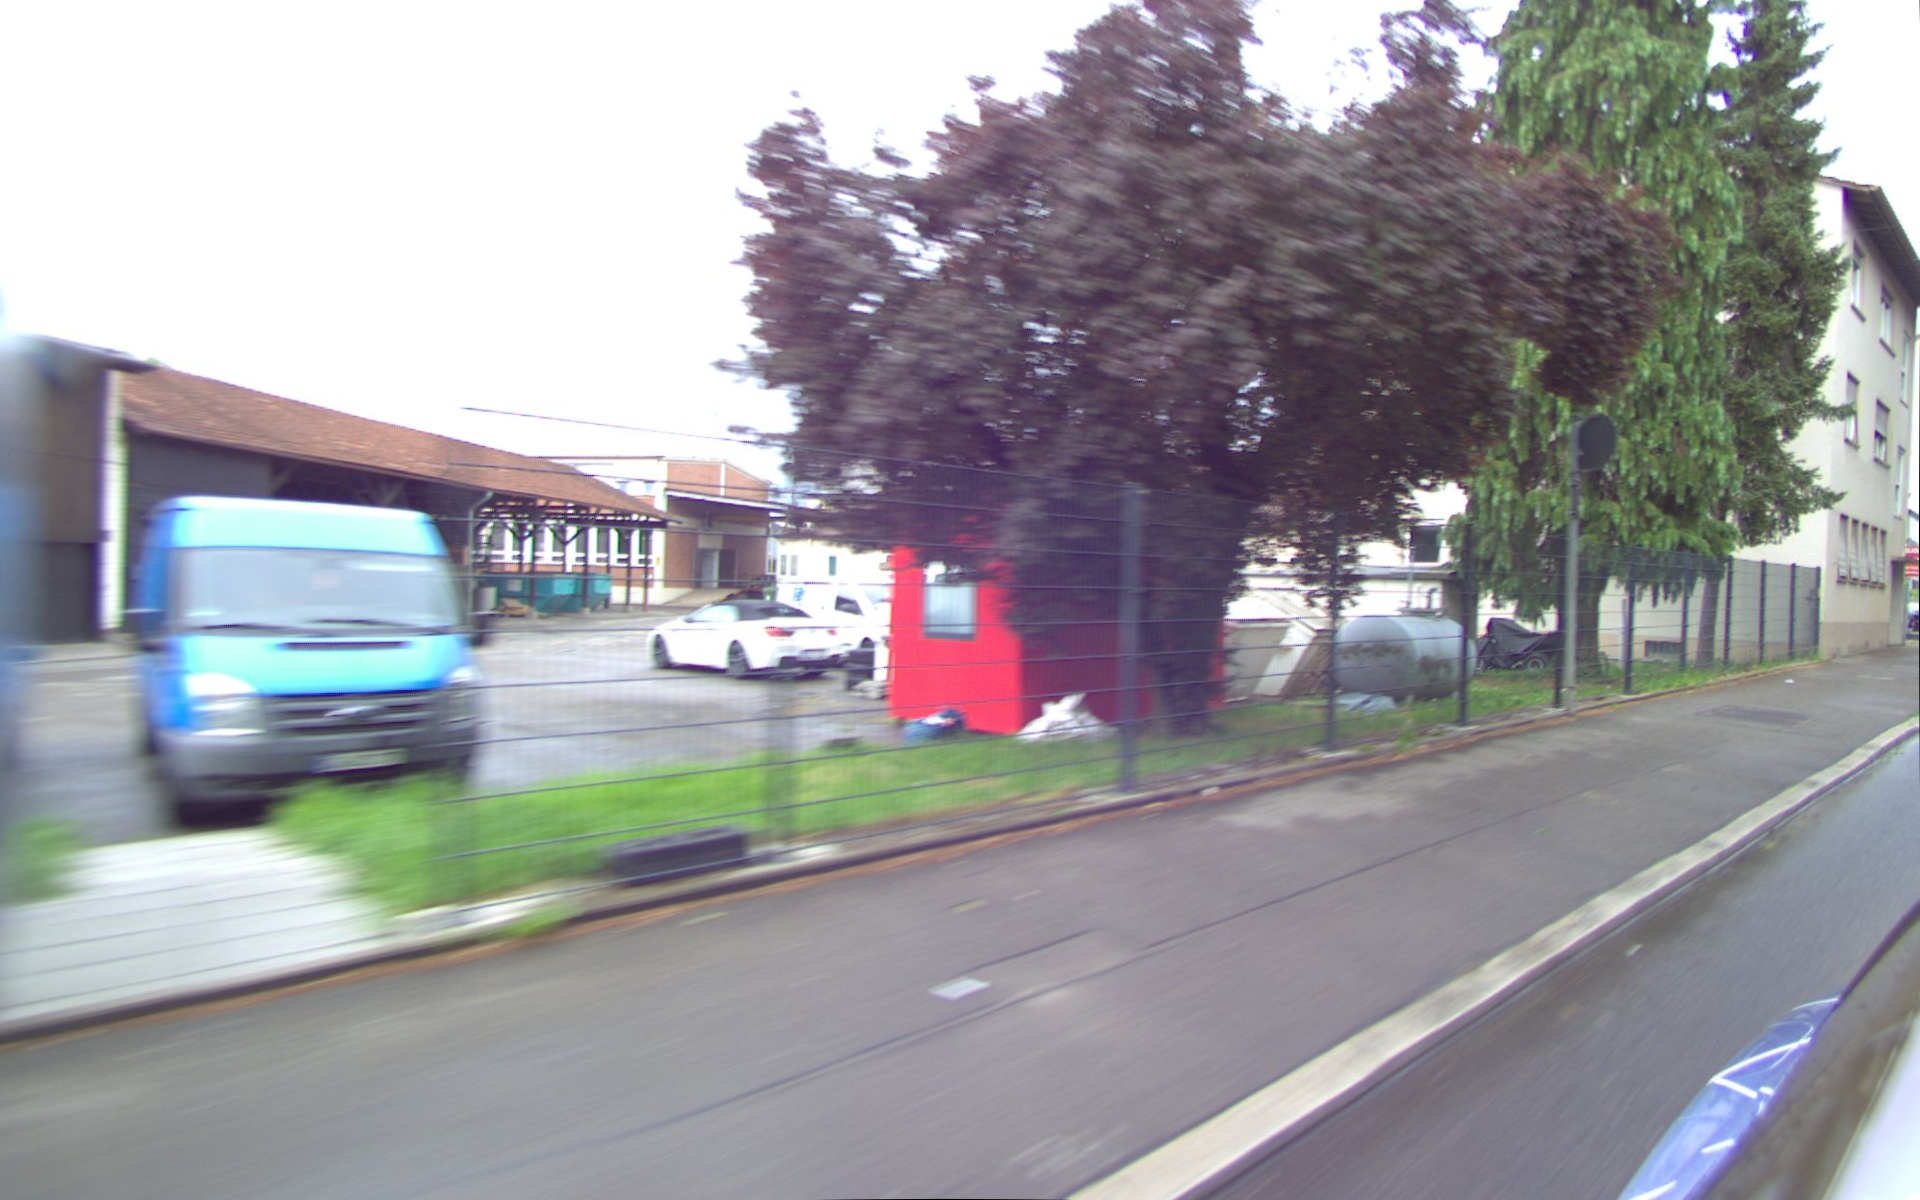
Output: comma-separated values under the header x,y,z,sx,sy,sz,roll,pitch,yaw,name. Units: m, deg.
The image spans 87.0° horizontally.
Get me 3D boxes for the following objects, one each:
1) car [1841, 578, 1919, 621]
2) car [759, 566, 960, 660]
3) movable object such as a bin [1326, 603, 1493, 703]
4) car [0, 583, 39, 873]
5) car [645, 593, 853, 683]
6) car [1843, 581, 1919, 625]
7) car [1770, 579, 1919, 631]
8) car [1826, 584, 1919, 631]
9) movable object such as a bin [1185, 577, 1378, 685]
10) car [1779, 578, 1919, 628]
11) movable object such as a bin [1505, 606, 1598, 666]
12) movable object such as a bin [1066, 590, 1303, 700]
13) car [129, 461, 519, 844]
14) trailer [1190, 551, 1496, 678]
x,y,z,sx,sy,sz,roll,pitch,yaw,name
40.164,-0.035,42.661,1.965,1.790,4.310,-2,1,-40,car
-2.226,0.159,21.272,1.965,1.714,4.606,-2,3,-40,car
6.686,0.708,14.970,1.370,1.337,2.814,-1,0,44,movable object such as a bin
-7.317,0.698,6.674,1.763,1.550,4.385,-1,2,-42,car
-4.070,0.627,19.096,1.770,1.441,4.358,0,1,-45,car
38.490,0.119,40.918,1.760,1.746,3.956,-1,0,-40,car
31.876,0.158,36.198,1.837,1.758,4.236,-2,1,-40,car
36.397,0.268,39.224,1.837,1.758,4.074,-2,1,-40,car
5.694,0.504,17.976,2.049,1.738,2.619,0,-1,-43,movable object such as a bin
33.897,0.094,38.307,1.837,1.758,4.236,-2,1,-40,car
12.362,0.756,21.159,1.196,1.196,1.330,1,-3,-41,movable object such as a bin
3.608,0.662,16.551,1.860,1.597,3.333,0,0,-43,movable object such as a bin
-5.729,0.271,8.675,1.965,2.238,5.576,0,0,-41,car
7.482,0.229,20.302,2.011,2.214,5.429,-2,1,-41,trailer
